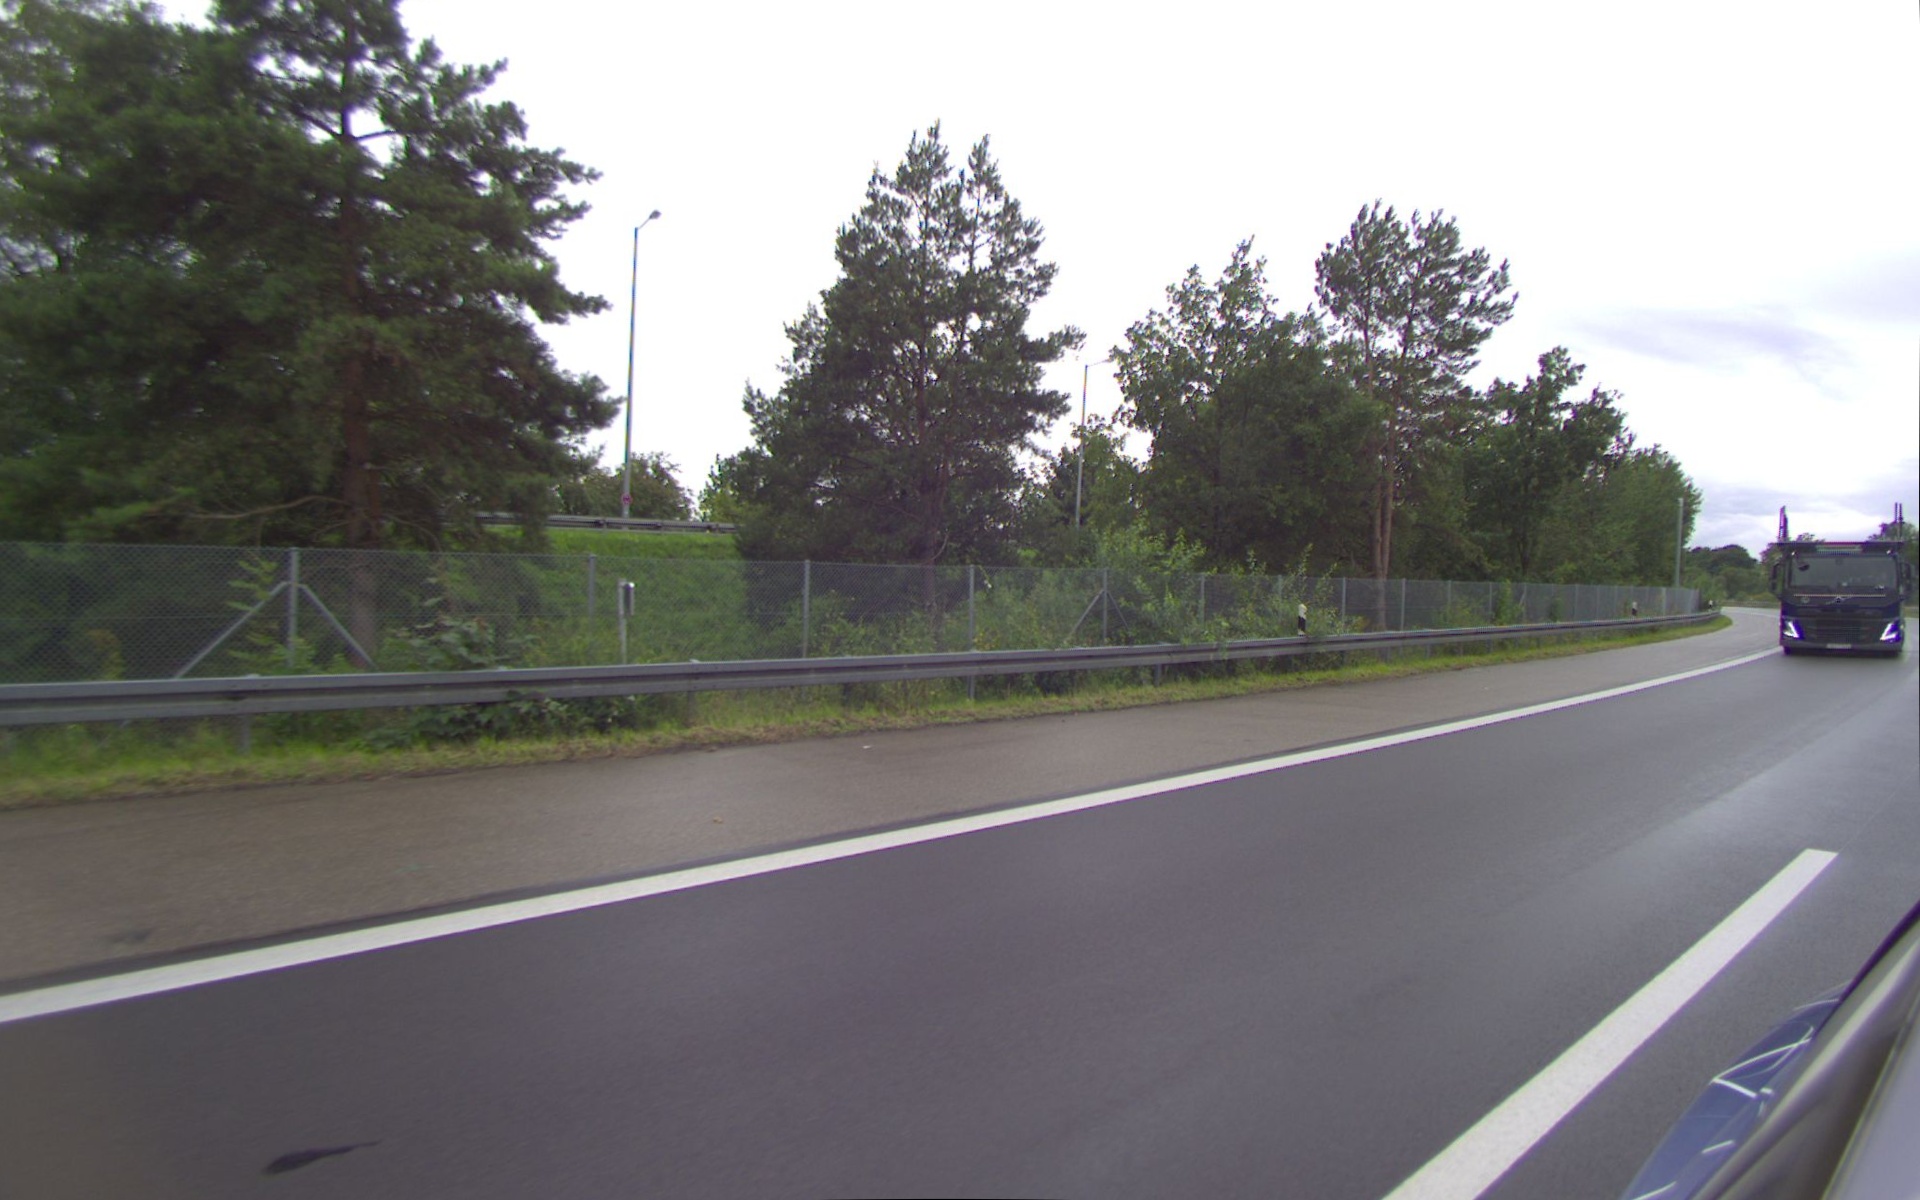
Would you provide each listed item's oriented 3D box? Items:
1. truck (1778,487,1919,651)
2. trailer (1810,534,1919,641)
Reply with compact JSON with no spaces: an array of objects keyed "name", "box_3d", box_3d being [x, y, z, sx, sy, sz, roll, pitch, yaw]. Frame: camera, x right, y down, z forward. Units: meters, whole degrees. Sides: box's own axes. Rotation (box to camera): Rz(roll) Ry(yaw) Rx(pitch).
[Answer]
[{"name":"truck","box_3d":[25.681,-0.760,28.924,2.739,4.018,8.982,-1,0,44]},{"name":"trailer","box_3d":[32.269,-0.431,35.955,2.776,3.326,10.248,2,1,42]}]
